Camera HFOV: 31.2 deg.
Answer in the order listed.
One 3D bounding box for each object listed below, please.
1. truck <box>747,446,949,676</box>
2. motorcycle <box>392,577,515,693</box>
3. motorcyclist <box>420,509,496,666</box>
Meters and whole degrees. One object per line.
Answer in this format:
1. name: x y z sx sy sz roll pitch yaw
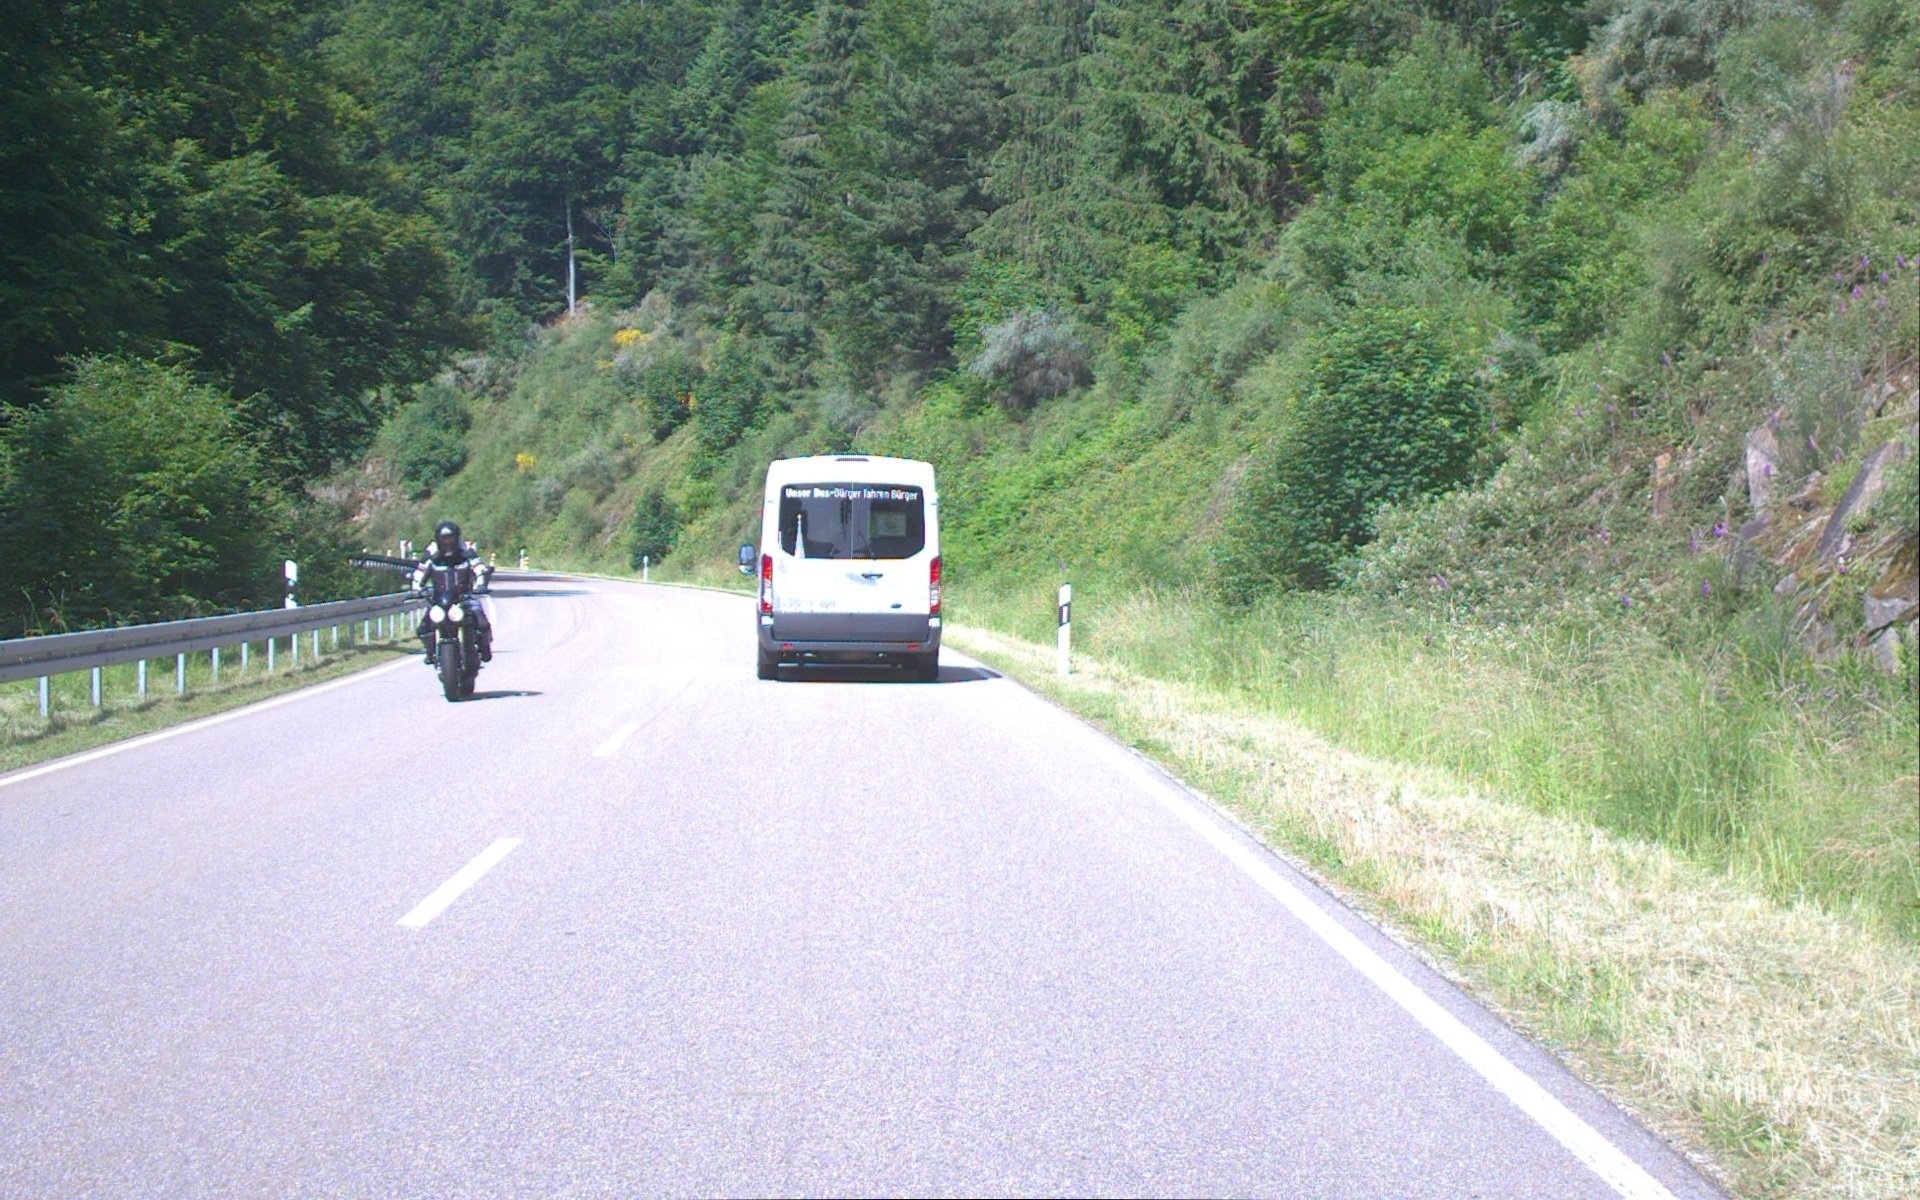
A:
1. truck: -1.351 -0.464 39.275 2.083 2.451 4.876 0 1 -4
2. motorcycle: -4.911 0.325 33.453 0.984 1.068 1.963 0 1 -3
3. motorcyclist: -4.886 -0.134 33.502 0.658 1.508 0.934 0 1 -4
